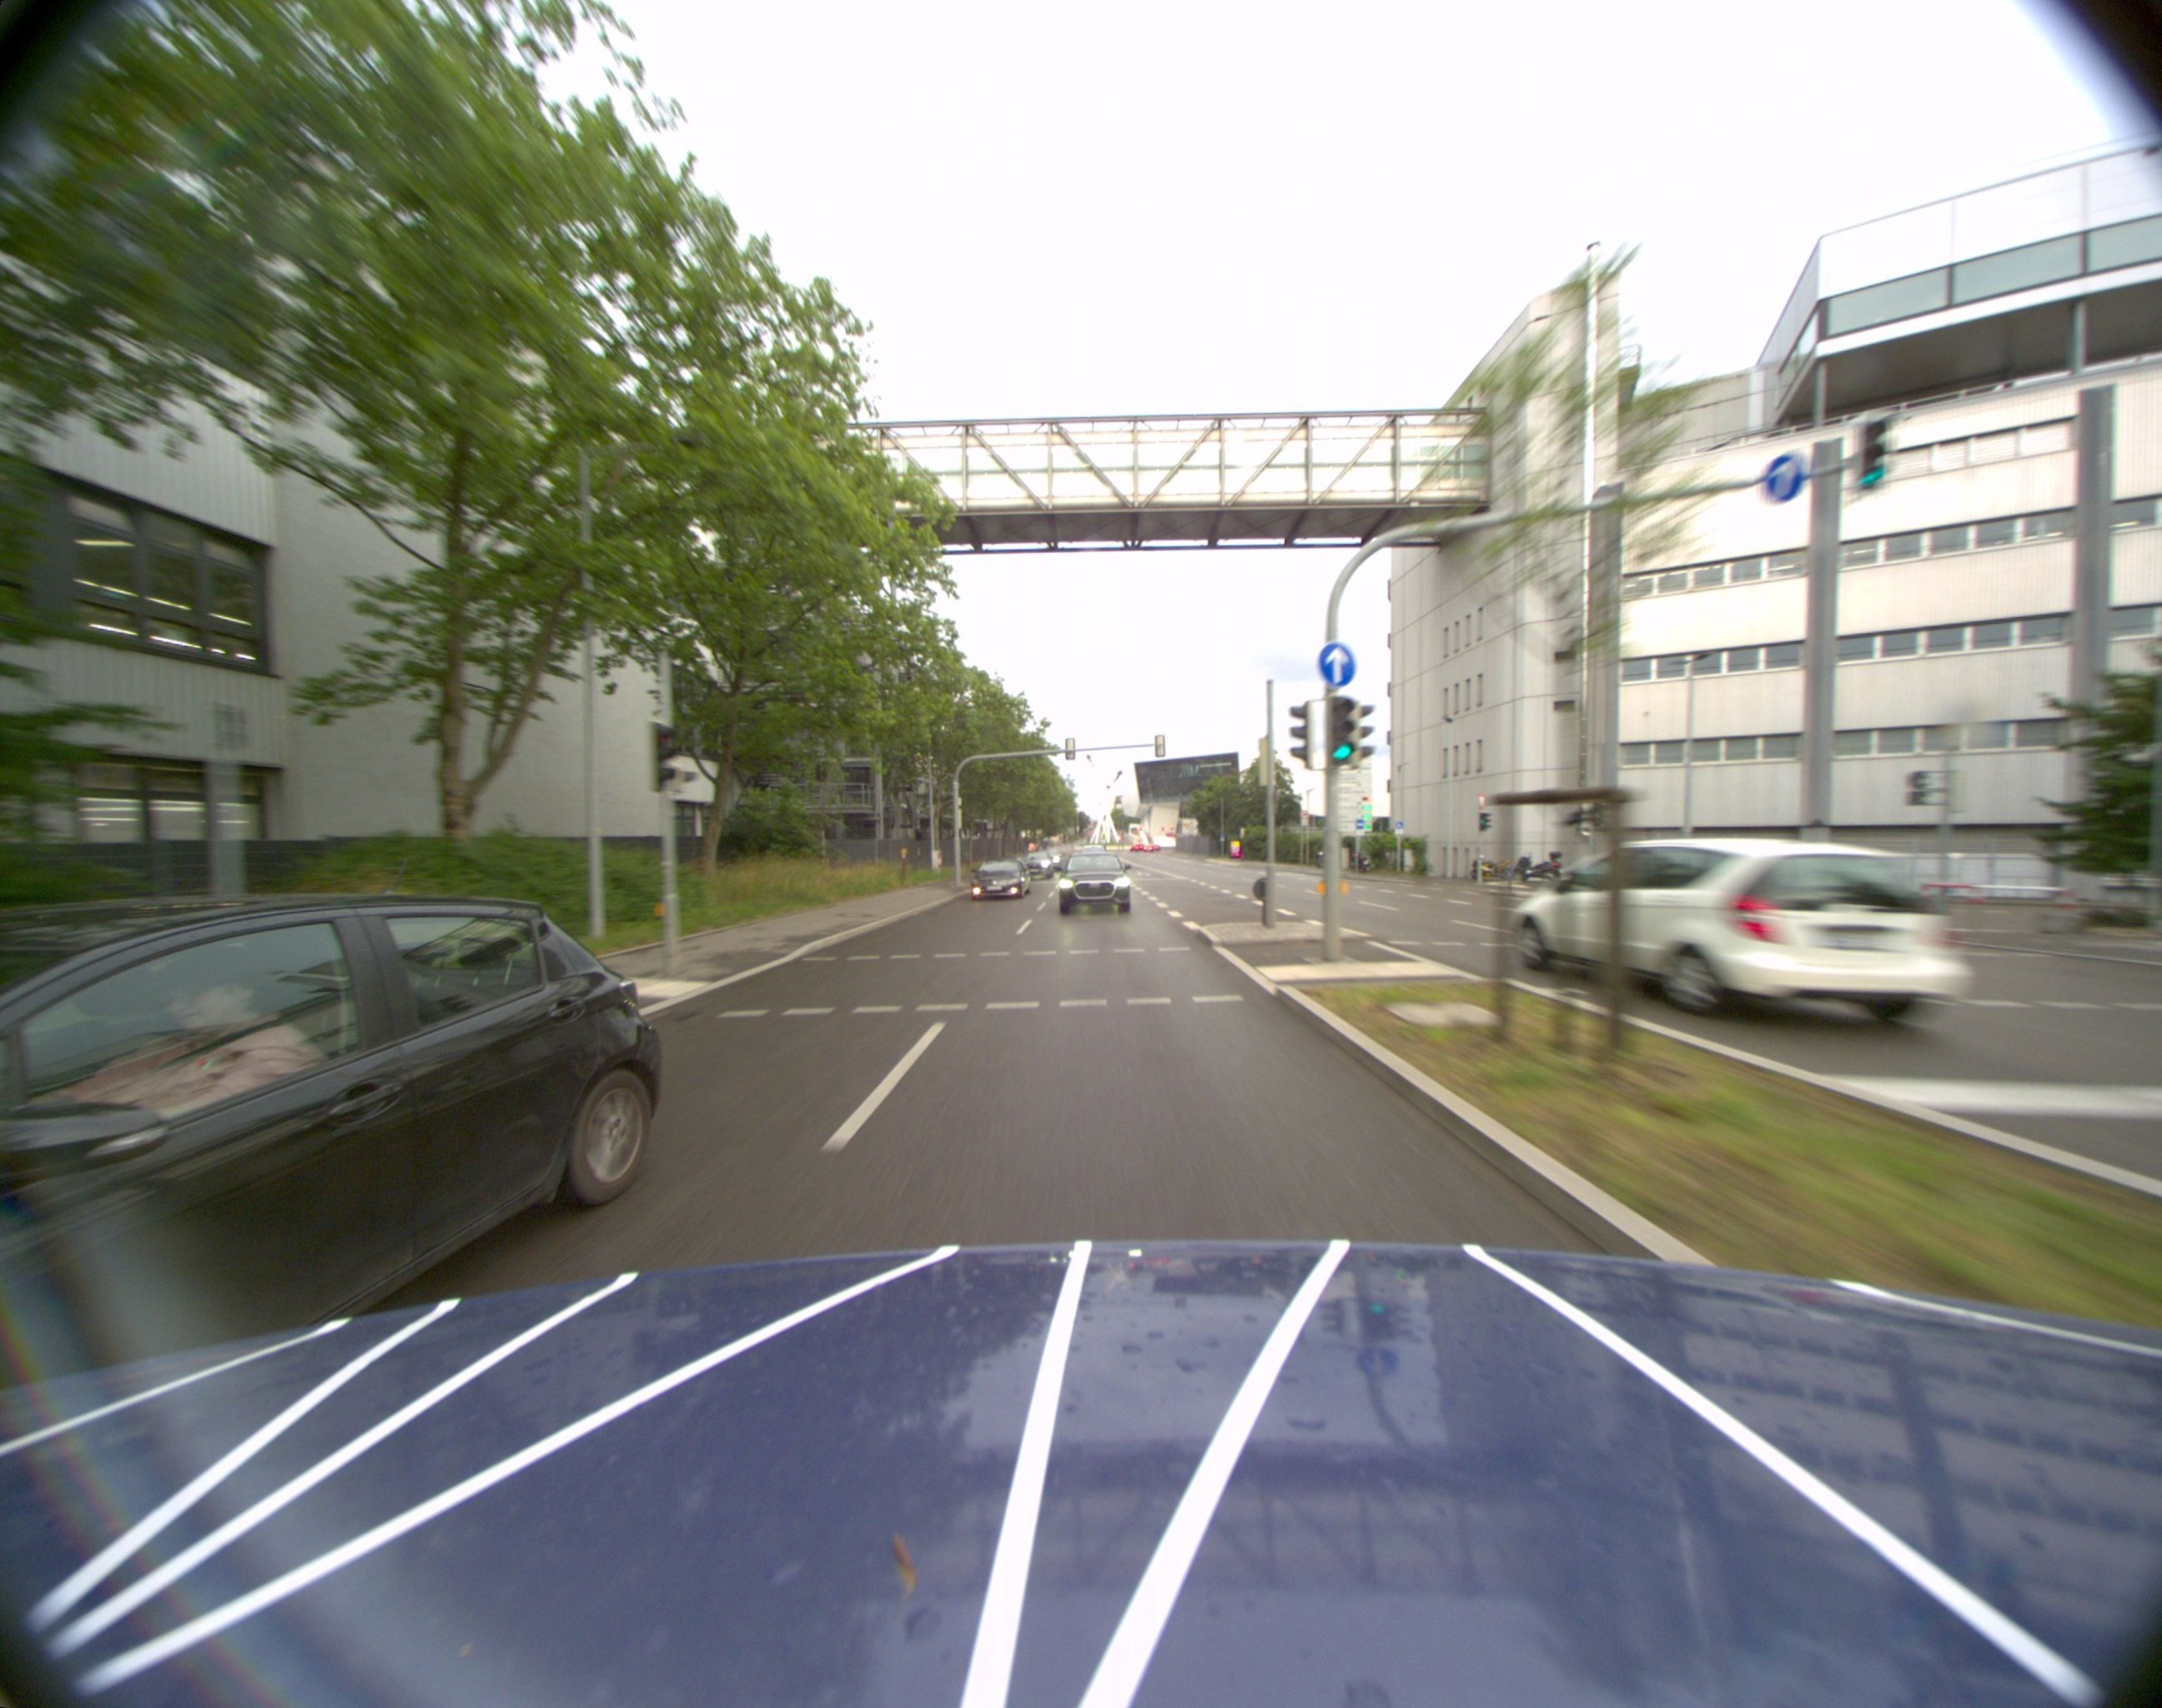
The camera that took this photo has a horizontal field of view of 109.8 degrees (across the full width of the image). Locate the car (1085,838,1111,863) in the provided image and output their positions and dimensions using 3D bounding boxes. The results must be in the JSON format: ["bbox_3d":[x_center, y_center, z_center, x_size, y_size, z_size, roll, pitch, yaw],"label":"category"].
[{"bbox_3d":[1.362,-0.288,61.996,2.035,1.920,4.331,-1,1,0],"label":"car"}]

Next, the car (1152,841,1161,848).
[{"bbox_3d":[17.020,-2.141,172.451,1.776,1.580,4.485,1,1,2],"label":"car"}]

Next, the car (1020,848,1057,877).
[{"bbox_3d":[-2.401,0.454,44.078,1.825,1.581,4.331,-1,1,0],"label":"car"}]

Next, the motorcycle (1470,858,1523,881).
[{"bbox_3d":[19.983,0.736,36.604,0.628,1.021,2.165,0,1,-34],"label":"motorcycle"}]

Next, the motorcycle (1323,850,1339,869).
[{"bbox_3d":[17.501,0.370,53.195,0.626,1.260,2.171,-1,1,6],"label":"motorcycle"}]

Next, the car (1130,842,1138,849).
[{"bbox_3d":[11.687,-1.857,167.642,1.776,1.580,4.485,1,1,2],"label":"car"}]

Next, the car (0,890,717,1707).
[{"bbox_3d":[-3.013,0.993,2.051,1.749,1.461,4.640,-1,1,0],"label":"car"}]

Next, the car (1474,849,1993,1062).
[{"bbox_3d":[6.179,0.770,8.108,1.776,1.580,4.485,1,1,2],"label":"car"}]

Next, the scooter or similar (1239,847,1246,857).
[{"bbox_3d":[17.598,-0.238,82.725,0.394,1.123,1.569,1,1,1],"label":"scooter or similar"}]

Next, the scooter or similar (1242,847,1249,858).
[{"bbox_3d":[17.591,-0.150,81.102,0.394,1.123,1.569,1,1,1],"label":"scooter or similar"}]

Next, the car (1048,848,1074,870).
[{"bbox_3d":[-1.506,0.353,58.211,1.820,1.571,4.331,-1,1,0],"label":"car"}]

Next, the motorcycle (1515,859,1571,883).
[{"bbox_3d":[21.141,0.779,34.817,0.627,1.021,2.166,0,1,-26],"label":"motorcycle"}]

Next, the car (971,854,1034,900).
[{"bbox_3d":[-2.745,0.776,27.491,1.749,1.422,4.516,-1,1,0],"label":"car"}]

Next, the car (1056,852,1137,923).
[{"bbox_3d":[0.374,0.763,20.138,1.820,1.536,5.607,-1,1,0],"label":"car"}]

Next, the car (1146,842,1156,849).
[{"bbox_3d":[15.225,-1.912,165.815,2.036,1.580,4.485,1,1,2],"label":"car"}]

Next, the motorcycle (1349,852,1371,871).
[{"bbox_3d":[17.561,0.447,47.821,0.569,1.156,2.038,0,1,-1],"label":"motorcycle"}]

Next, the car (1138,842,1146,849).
[{"bbox_3d":[13.959,-2.005,173.712,1.776,1.580,4.485,1,1,2],"label":"car"}]

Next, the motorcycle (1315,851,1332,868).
[{"bbox_3d":[17.832,0.419,55.843,0.626,1.208,1.968,1,1,2],"label":"motorcycle"}]
